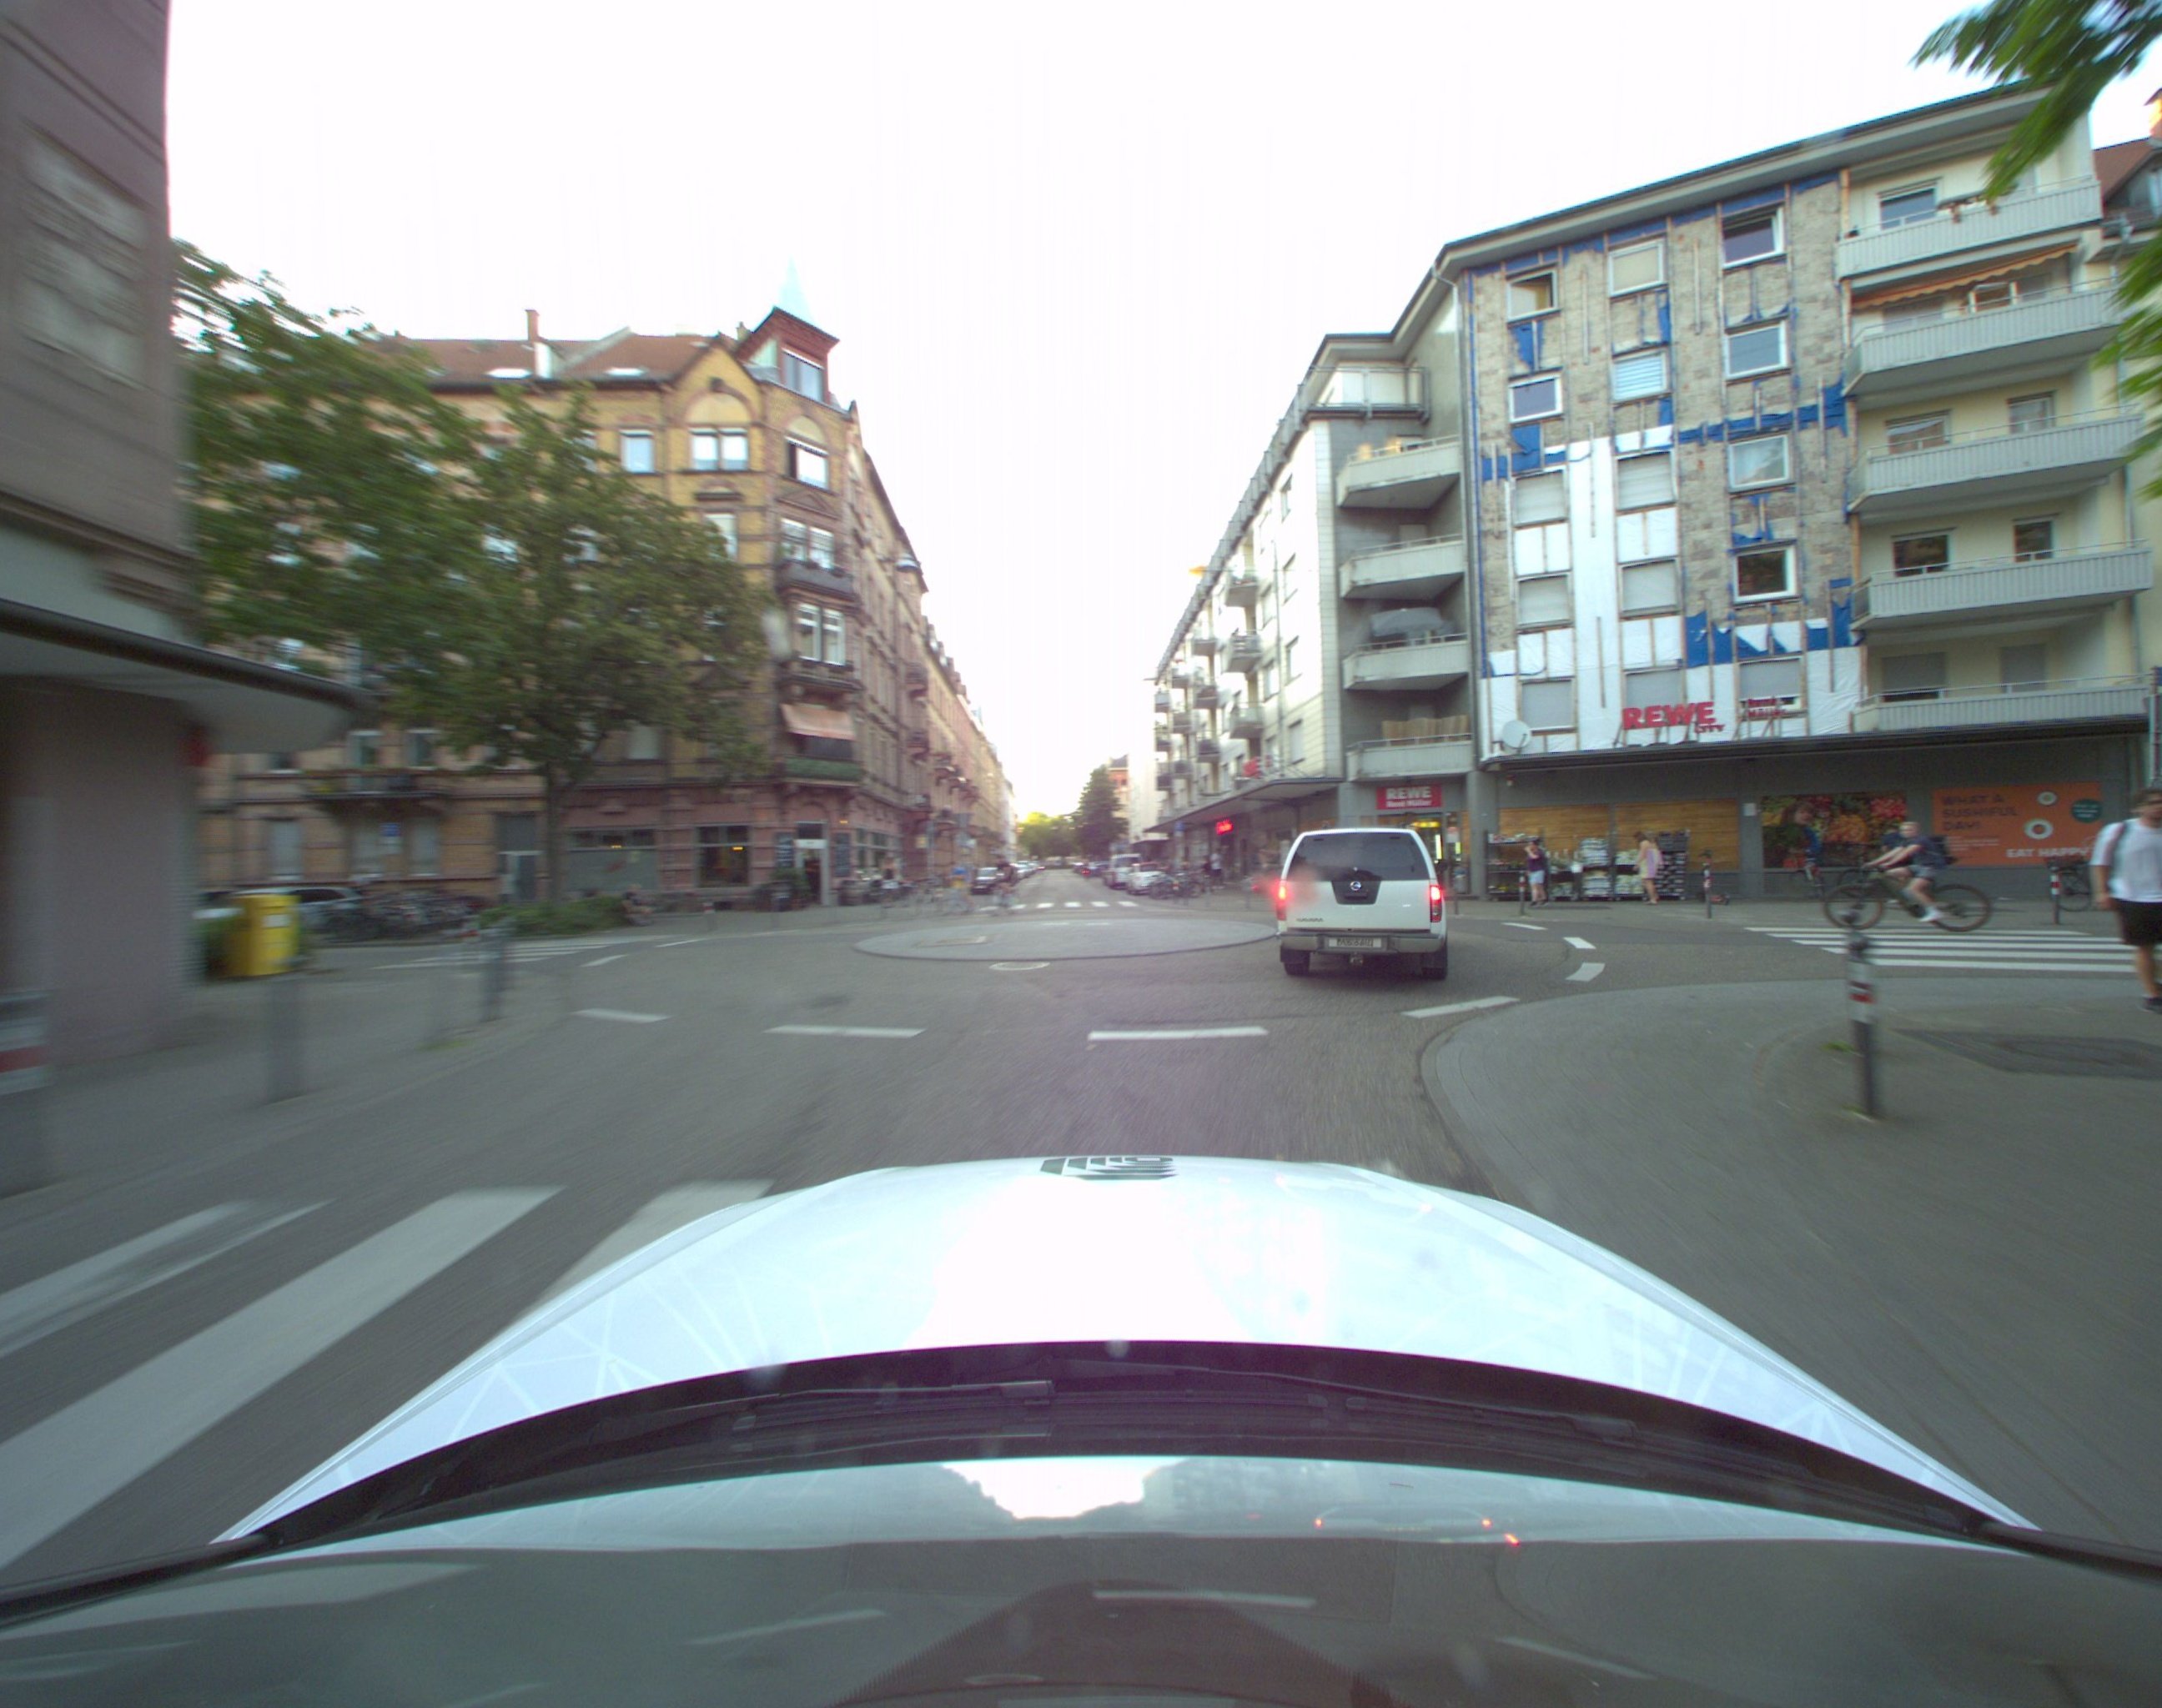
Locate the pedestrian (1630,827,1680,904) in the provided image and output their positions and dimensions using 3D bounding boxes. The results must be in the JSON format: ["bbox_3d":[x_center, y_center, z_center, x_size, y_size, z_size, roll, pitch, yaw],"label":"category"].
[{"bbox_3d":[13.198,0.262,18.739,0.715,1.726,0.668,0,-1,10],"label":"pedestrian"}]

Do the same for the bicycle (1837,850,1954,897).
[{"bbox_3d":[18.420,0.440,18.455,1.860,1.027,0.380,-1,-2,22],"label":"bicycle"}]

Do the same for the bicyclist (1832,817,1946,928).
[{"bbox_3d":[12.835,0.286,12.975,0.988,1.689,0.794,-1,0,11],"label":"bicyclist"}]

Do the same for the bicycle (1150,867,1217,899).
[{"bbox_3d":[3.975,1.118,31.603,2.458,1.038,0.615,-4,-1,-7],"label":"bicycle"}]

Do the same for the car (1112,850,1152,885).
[{"bbox_3d":[2.939,0.792,47.941,1.938,1.934,3.996,0,-1,-2],"label":"car"}]

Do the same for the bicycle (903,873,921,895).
[{"bbox_3d":[-8.514,1.489,41.068,0.386,1.036,2.481,0,-1,-1],"label":"bicycle"}]

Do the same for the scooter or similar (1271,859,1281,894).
[{"bbox_3d":[7.220,0.824,30.113,0.218,1.237,0.968,-1,1,6],"label":"scooter or similar"}]

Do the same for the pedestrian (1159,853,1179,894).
[{"bbox_3d":[3.648,0.812,33.864,0.718,1.663,0.702,0,-1,-2],"label":"pedestrian"}]

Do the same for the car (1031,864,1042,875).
[{"bbox_3d":[-7.514,2.670,137.999,1.830,1.750,3.996,0,-1,-2],"label":"car"}]

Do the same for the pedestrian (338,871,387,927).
[{"bbox_3d":[-22.928,1.423,25.989,0.917,1.725,0.667,0,-1,-6],"label":"pedestrian"}]

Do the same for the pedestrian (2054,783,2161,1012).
[{"bbox_3d":[8.674,0.339,6.649,0.953,1.770,0.858,1,-2,-42],"label":"pedestrian"}]

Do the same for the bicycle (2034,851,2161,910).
[{"bbox_3d":[18.436,0.474,14.703,1.644,1.027,0.379,-1,-2,15],"label":"bicycle"}]

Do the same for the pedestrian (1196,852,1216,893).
[{"bbox_3d":[5.189,0.767,33.906,0.718,1.663,0.702,0,-1,-2],"label":"pedestrian"}]

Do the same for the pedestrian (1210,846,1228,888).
[{"bbox_3d":[6.442,0.605,38.011,0.718,1.906,0.702,0,-1,-2],"label":"pedestrian"}]

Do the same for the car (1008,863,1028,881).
[{"bbox_3d":[-6.207,1.824,81.110,1.830,1.750,3.996,0,-1,-2],"label":"car"}]

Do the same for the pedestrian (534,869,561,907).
[{"bbox_3d":[-17.578,1.115,26.829,0.451,1.262,0.578,-1,-2,23],"label":"pedestrian"}]

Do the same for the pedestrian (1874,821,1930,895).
[{"bbox_3d":[18.151,0.095,18.014,0.658,1.601,0.722,-1,-2,28],"label":"pedestrian"}]

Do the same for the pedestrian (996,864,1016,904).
[{"bbox_3d":[-3.087,1.217,33.599,0.796,1.621,0.943,0,-1,-4],"label":"pedestrian"}]

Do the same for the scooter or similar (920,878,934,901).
[{"bbox_3d":[-6.459,1.480,34.127,0.234,0.929,1.255,1,-2,-27],"label":"scooter or similar"}]

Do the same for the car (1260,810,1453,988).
[{"bbox_3d":[3.894,0.432,10.963,1.921,1.810,5.029,-1,1,24],"label":"car"}]

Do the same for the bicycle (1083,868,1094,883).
[{"bbox_3d":[0.594,1.732,66.648,0.836,1.171,1.934,0,-1,-3],"label":"bicycle"}]

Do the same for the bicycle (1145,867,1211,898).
[{"bbox_3d":[3.853,1.124,32.279,2.459,1.038,0.615,-4,-1,-7],"label":"bicycle"}]

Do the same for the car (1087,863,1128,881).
[{"bbox_3d":[2.670,1.797,81.488,3.978,1.750,1.838,0,-1,-3],"label":"car"}]

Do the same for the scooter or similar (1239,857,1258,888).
[{"bbox_3d":[6.998,0.777,34.038,0.438,1.290,1.667,0,-1,1],"label":"scooter or similar"}]

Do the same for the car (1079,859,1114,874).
[{"bbox_3d":[1.759,1.484,94.323,3.978,1.750,1.838,0,-1,-3],"label":"car"}]

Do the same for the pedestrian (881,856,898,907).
[{"bbox_3d":[-7.007,1.005,29.770,0.506,1.840,0.568,0,-2,-24],"label":"pedestrian"}]

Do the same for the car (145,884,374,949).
[{"bbox_3d":[-22.896,1.671,23.019,1.989,1.579,4.492,0,-1,-3],"label":"car"}]

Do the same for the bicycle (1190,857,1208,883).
[{"bbox_3d":[6.672,0.909,46.159,0.554,1.408,2.092,0,-1,-4],"label":"bicycle"}]

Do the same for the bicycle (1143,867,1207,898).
[{"bbox_3d":[3.796,1.138,32.945,2.459,1.038,0.615,-4,-1,-7],"label":"bicycle"}]

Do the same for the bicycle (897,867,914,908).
[{"bbox_3d":[-6.470,1.208,30.046,0.423,1.443,1.900,0,-1,-6],"label":"bicycle"}]

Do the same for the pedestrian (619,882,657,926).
[{"bbox_3d":[-12.977,1.456,23.880,0.752,1.262,0.667,0,-1,-3],"label":"pedestrian"}]

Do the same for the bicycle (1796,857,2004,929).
[{"bbox_3d":[12.941,0.610,12.941,2.263,1.073,0.794,-1,0,11],"label":"bicycle"}]

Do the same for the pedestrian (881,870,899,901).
[{"bbox_3d":[-8.001,1.303,34.069,0.647,1.286,0.538,0,-1,-6],"label":"pedestrian"}]

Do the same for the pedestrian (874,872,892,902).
[{"bbox_3d":[-7.999,1.326,32.882,0.647,1.191,0.538,0,-1,-6],"label":"pedestrian"}]

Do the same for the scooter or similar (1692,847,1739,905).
[{"bbox_3d":[14.436,0.474,18.556,0.319,1.266,1.294,-1,1,13],"label":"scooter or similar"}]

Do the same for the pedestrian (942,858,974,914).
[{"bbox_3d":[-3.819,0.989,25.298,0.900,1.736,0.616,0,-1,1],"label":"pedestrian"}]

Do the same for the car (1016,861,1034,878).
[{"bbox_3d":[-6.205,1.721,90.419,1.830,1.750,3.996,0,-1,-2],"label":"car"}]

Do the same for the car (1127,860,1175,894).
[{"bbox_3d":[3.308,1.068,39.168,1.830,1.542,3.996,0,-1,-2],"label":"car"}]

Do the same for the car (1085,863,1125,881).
[{"bbox_3d":[2.472,1.852,84.140,3.978,1.750,1.838,0,-1,-3],"label":"car"}]

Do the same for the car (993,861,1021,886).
[{"bbox_3d":[-5.312,1.389,59.163,1.830,1.750,4.158,0,-1,-2],"label":"car"}]

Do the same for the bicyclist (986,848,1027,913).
[{"bbox_3d":[-2.200,0.767,24.087,0.830,1.876,0.884,-1,-2,31],"label":"bicyclist"}]

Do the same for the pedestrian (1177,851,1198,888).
[{"bbox_3d":[4.768,0.687,36.504,0.721,1.663,0.699,0,-2,-14],"label":"pedestrian"}]

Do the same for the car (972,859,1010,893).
[{"bbox_3d":[-4.923,1.203,45.124,1.830,1.750,3.996,0,-1,-2],"label":"car"}]

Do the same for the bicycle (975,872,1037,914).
[{"bbox_3d":[-2.203,1.119,24.058,0.830,1.171,1.948,-1,-2,31],"label":"bicycle"}]

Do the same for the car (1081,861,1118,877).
[{"bbox_3d":[2.057,1.719,91.405,3.978,1.750,1.838,0,-1,-3],"label":"car"}]

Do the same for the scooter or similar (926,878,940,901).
[{"bbox_3d":[-6.226,1.482,34.251,0.234,0.929,1.255,1,-2,-27],"label":"scooter or similar"}]

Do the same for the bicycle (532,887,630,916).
[{"bbox_3d":[-17.110,1.611,27.911,2.889,0.958,0.625,0,-1,-3],"label":"bicycle"}]

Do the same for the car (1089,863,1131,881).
[{"bbox_3d":[2.788,1.751,79.255,3.978,1.750,1.838,0,-1,-3],"label":"car"}]

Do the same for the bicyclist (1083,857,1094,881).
[{"bbox_3d":[0.622,1.198,66.612,0.836,1.944,0.784,0,-1,-3],"label":"bicyclist"}]

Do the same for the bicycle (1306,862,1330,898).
[{"bbox_3d":[7.556,0.825,25.980,0.289,1.112,0.961,0,-1,-14],"label":"bicycle"}]

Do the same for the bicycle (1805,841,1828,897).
[{"bbox_3d":[16.653,0.341,18.431,0.344,1.203,1.820,-2,-2,43],"label":"bicycle"}]

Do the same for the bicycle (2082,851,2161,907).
[{"bbox_3d":[19.705,0.461,15.079,2.004,1.027,0.377,0,-1,-4],"label":"bicycle"}]

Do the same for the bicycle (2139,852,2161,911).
[{"bbox_3d":[19.746,0.472,14.280,2.004,1.027,0.377,0,-1,-4],"label":"bicycle"}]

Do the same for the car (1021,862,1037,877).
[{"bbox_3d":[-6.252,1.849,98.228,1.830,1.750,3.996,0,-1,-2],"label":"car"}]

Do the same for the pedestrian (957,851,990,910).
[{"bbox_3d":[-3.471,0.849,26.258,0.910,1.885,0.609,1,-2,-33],"label":"pedestrian"}]

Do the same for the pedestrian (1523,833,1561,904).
[{"bbox_3d":[10.907,0.342,19.292,0.709,1.652,0.717,-1,-2,26],"label":"pedestrian"}]
